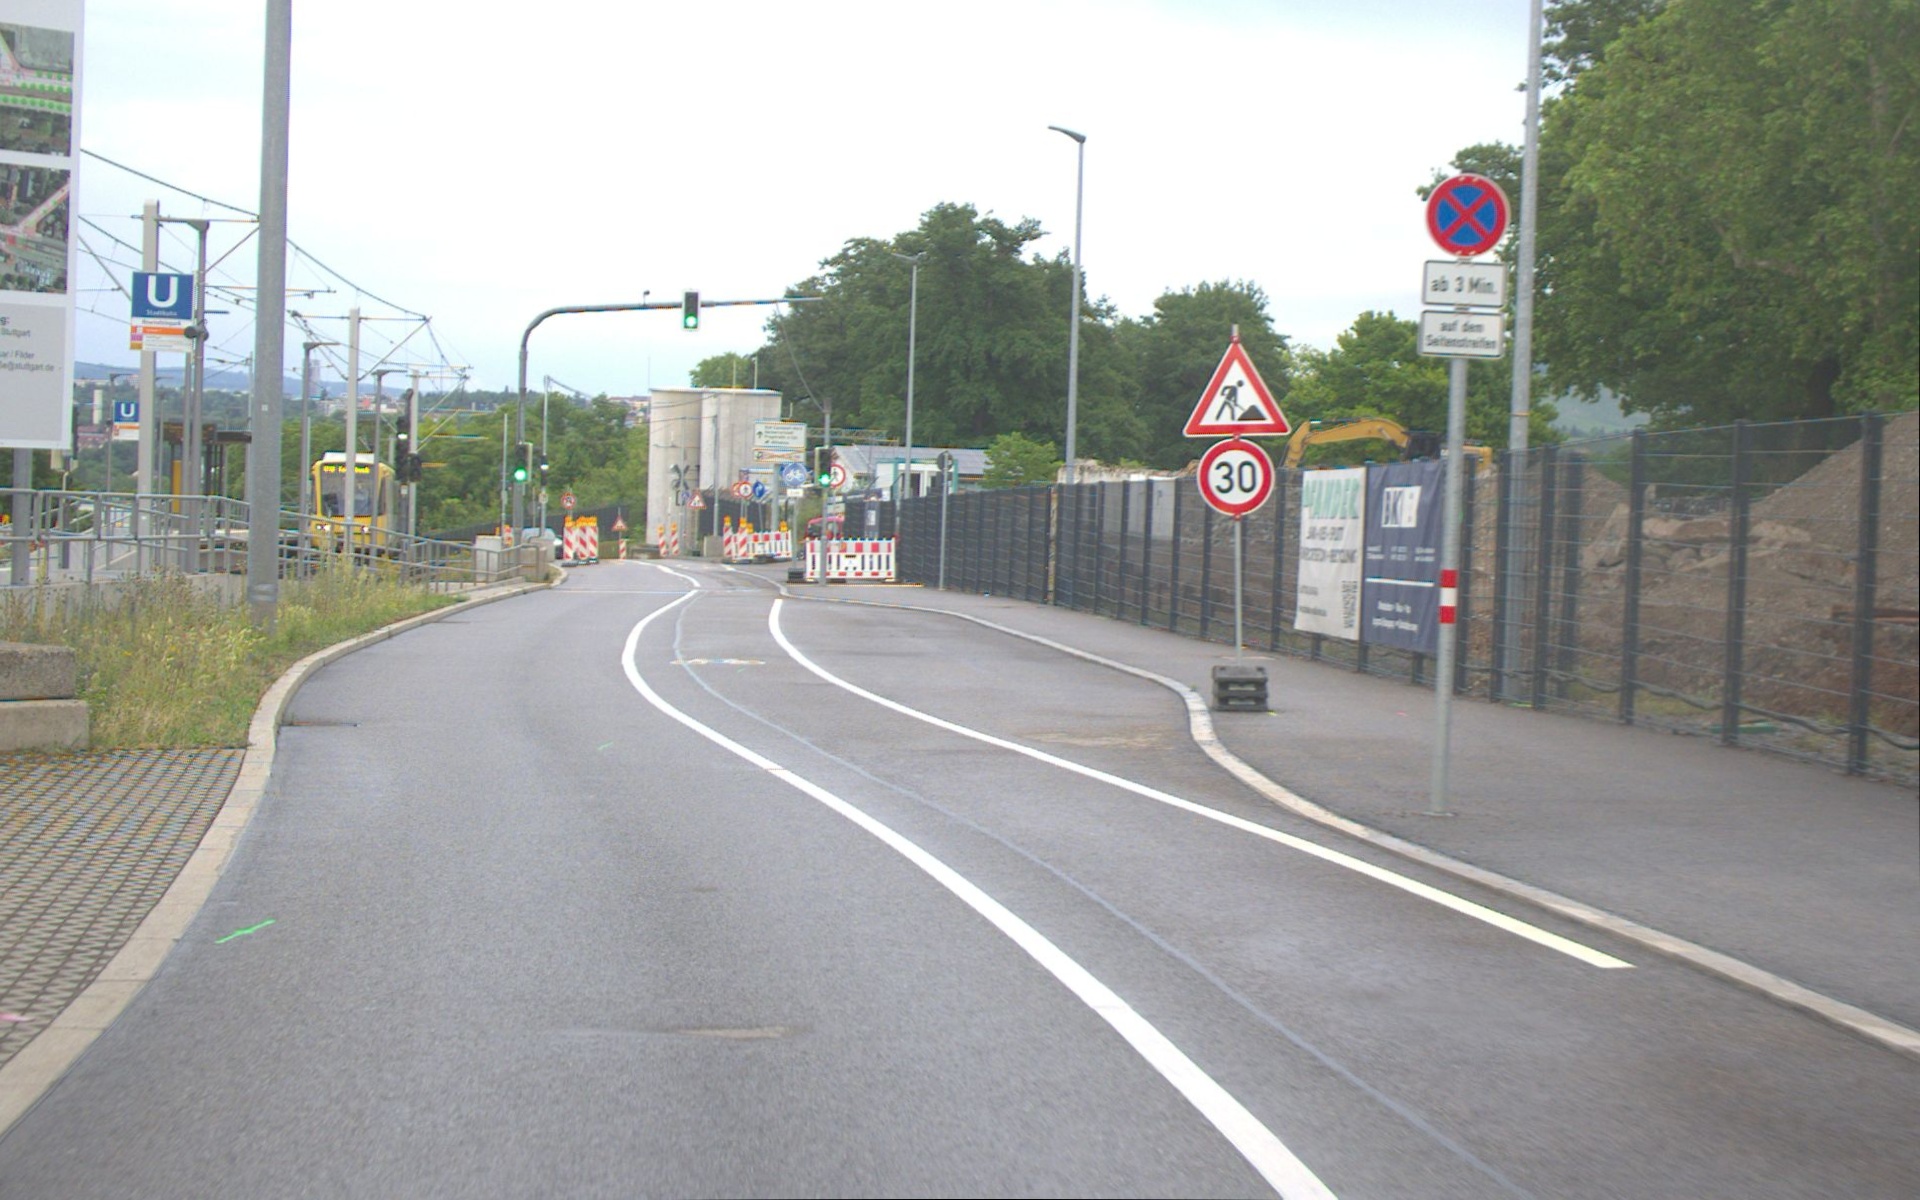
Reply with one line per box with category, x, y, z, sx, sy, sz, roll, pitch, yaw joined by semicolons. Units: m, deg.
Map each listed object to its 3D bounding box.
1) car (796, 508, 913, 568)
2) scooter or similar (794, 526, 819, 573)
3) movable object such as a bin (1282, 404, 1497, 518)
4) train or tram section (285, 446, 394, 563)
car;-3.222;-1.901;106.128;1.822;1.787;4.403;2;1;25
scooter or similar;-4.469;-1.473;100.137;0.615;1.346;1.912;1;1;0
movable object such as a bin;23.145;-7.464;185.763;11.232;5.975;3.491;1;1;2
train or tram section;-22.749;-3.486;126.827;2.954;3.872;19.578;2;1;-8
